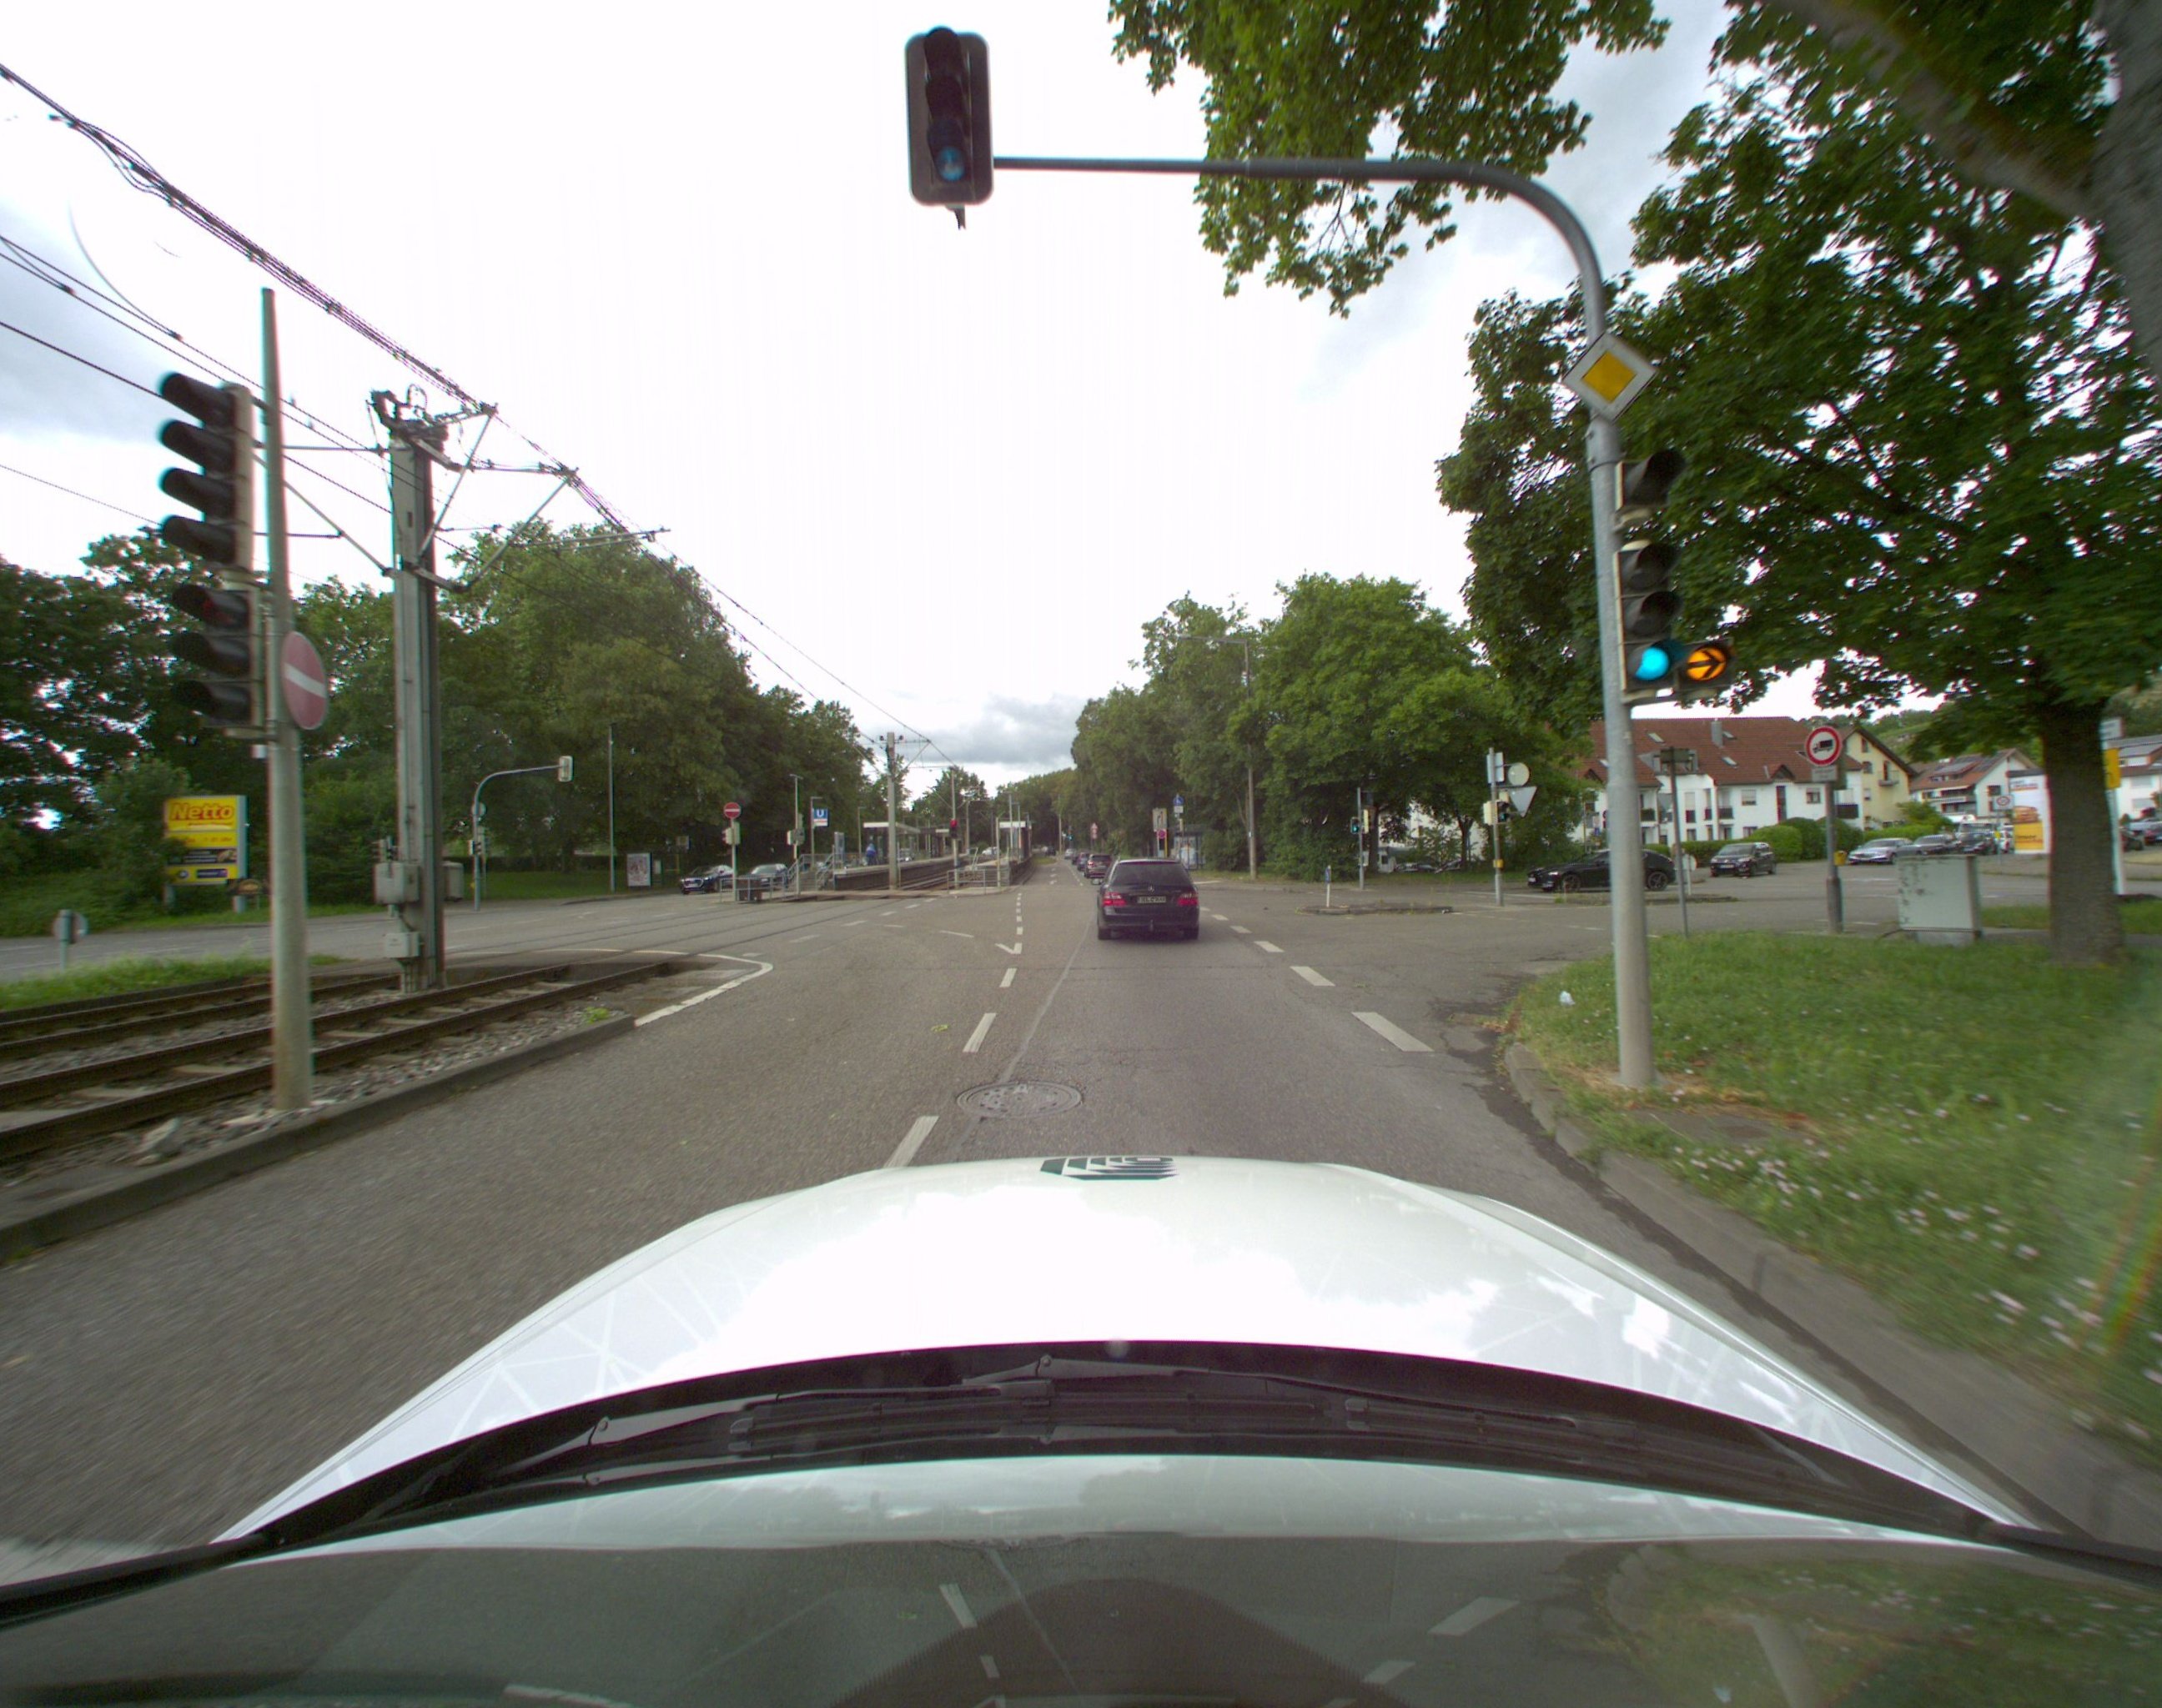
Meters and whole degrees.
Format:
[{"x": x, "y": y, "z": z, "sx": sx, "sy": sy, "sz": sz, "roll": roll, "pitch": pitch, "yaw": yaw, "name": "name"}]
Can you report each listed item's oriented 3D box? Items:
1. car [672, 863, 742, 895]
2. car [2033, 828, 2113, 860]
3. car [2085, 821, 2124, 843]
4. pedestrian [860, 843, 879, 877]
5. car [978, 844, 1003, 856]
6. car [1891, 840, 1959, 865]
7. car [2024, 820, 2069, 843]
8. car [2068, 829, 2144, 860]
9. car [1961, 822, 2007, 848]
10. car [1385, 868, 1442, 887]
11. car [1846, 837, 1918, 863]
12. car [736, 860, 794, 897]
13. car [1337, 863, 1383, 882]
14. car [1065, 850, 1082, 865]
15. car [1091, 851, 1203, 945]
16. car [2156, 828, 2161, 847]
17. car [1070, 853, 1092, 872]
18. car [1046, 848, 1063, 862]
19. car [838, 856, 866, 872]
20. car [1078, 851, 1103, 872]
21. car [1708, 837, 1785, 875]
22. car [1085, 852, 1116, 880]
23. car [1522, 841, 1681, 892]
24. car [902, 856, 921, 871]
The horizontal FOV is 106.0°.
[{"x": -21.011, "y": 1.356, "z": 46.014, "sx": 1.989, "sy": 1.482, "sz": 4.501, "roll": -4, "pitch": 0, "yaw": -3, "name": "car"}, {"x": 49.216, "y": -0.490, "z": 40.392, "sx": 4.013, "sy": 1.517, "sz": 1.980, "roll": -1, "pitch": 0, "yaw": -31, "name": "car"}, {"x": 109.065, "y": -2.358, "z": 86.784, "sx": 4.492, "sy": 2.237, "sz": 2.386, "roll": -2, "pitch": 0, "yaw": -40, "name": "car"}, {"x": -14.001, "y": 0.390, "z": 53.906, "sx": 0.967, "sy": 2.186, "sz": 0.975, "roll": -1, "pitch": 0, "yaw": -1, "name": "pedestrian"}, {"x": -15.384, "y": -0.602, "z": 138.329, "sx": 3.948, "sy": 2.014, "sz": 2.013, "roll": 0, "pitch": -1, "yaw": 36, "name": "car"}, {"x": 52.011, "y": -0.060, "z": 50.171, "sx": 4.483, "sy": 1.426, "sz": 1.980, "roll": 1, "pitch": -1, "yaw": -31, "name": "car"}, {"x": 80.124, "y": -1.864, "z": 67.569, "sx": 4.487, "sy": 1.753, "sz": 1.979, "roll": -2, "pitch": 0, "yaw": -34, "name": "car"}, {"x": 54.072, "y": -0.517, "z": 42.951, "sx": 4.013, "sy": 1.517, "sz": 1.980, "roll": -1, "pitch": 0, "yaw": -31, "name": "car"}, {"x": 75.469, "y": -1.600, "z": 68.065, "sx": 4.487, "sy": 2.125, "sz": 1.979, "roll": -2, "pitch": 0, "yaw": -34, "name": "car"}, {"x": 22.256, "y": 1.558, "z": 54.681, "sx": 1.623, "sy": 1.246, "sz": 3.841, "roll": 1, "pitch": -1, "yaw": -13, "name": "car"}, {"x": 46.066, "y": -0.203, "z": 46.794, "sx": 4.484, "sy": 1.426, "sz": 1.980, "roll": 1, "pitch": -1, "yaw": -32, "name": "car"}, {"x": -16.923, "y": 1.292, "z": 43.772, "sx": 1.693, "sy": 1.860, "sz": 3.995, "roll": 0, "pitch": -1, "yaw": -3, "name": "car"}, {"x": 20.749, "y": 1.377, "z": 60.655, "sx": 1.479, "sy": 1.386, "sz": 3.823, "roll": 1, "pitch": -1, "yaw": -12, "name": "car"}, {"x": -0.979, "y": 0.472, "z": 104.880, "sx": 1.989, "sy": 1.893, "sz": 3.995, "roll": 0, "pitch": -1, "yaw": -3, "name": "car"}, {"x": 1.119, "y": 0.733, "z": 15.429, "sx": 1.776, "sy": 1.525, "sz": 3.999, "roll": 0, "pitch": 0, "yaw": 0, "name": "car"}, {"x": 71.745, "y": -1.132, "z": 52.991, "sx": 3.662, "sy": 1.243, "sz": 1.708, "roll": -2, "pitch": 0, "yaw": -29, "name": "car"}, {"x": -0.028, "y": 0.913, "z": 84.173, "sx": 1.989, "sy": 1.918, "sz": 3.995, "roll": 0, "pitch": -1, "yaw": -3, "name": "car"}, {"x": -4.066, "y": 0.192, "z": 123.861, "sx": 1.993, "sy": 1.966, "sz": 3.987, "roll": 1, "pitch": -1, "yaw": -9, "name": "car"}, {"x": -22.492, "y": 1.004, "z": 80.079, "sx": 1.682, "sy": 1.446, "sz": 3.995, "roll": -4, "pitch": -1, "yaw": -3, "name": "car"}, {"x": 0.785, "y": 0.590, "z": 65.727, "sx": 1.774, "sy": 1.648, "sz": 4.003, "roll": 0, "pitch": -1, "yaw": 3, "name": "car"}, {"x": 32.498, "y": 0.125, "z": 39.737, "sx": 4.017, "sy": 1.766, "sz": 1.978, "roll": 1, "pitch": -1, "yaw": -36, "name": "car"}, {"x": 1.248, "y": 0.755, "z": 51.115, "sx": 1.774, "sy": 1.648, "sz": 4.003, "roll": 0, "pitch": -1, "yaw": 3, "name": "car"}, {"x": 17.409, "y": 0.415, "z": 27.394, "sx": 4.131, "sy": 1.526, "sz": 1.707, "roll": -2, "pitch": -1, "yaw": 6, "name": "car"}, {"x": -21.814, "y": 1.212, "z": 104.981, "sx": 1.706, "sy": 1.751, "sz": 4.395, "roll": -3, "pitch": -1, "yaw": -2, "name": "car"}]
